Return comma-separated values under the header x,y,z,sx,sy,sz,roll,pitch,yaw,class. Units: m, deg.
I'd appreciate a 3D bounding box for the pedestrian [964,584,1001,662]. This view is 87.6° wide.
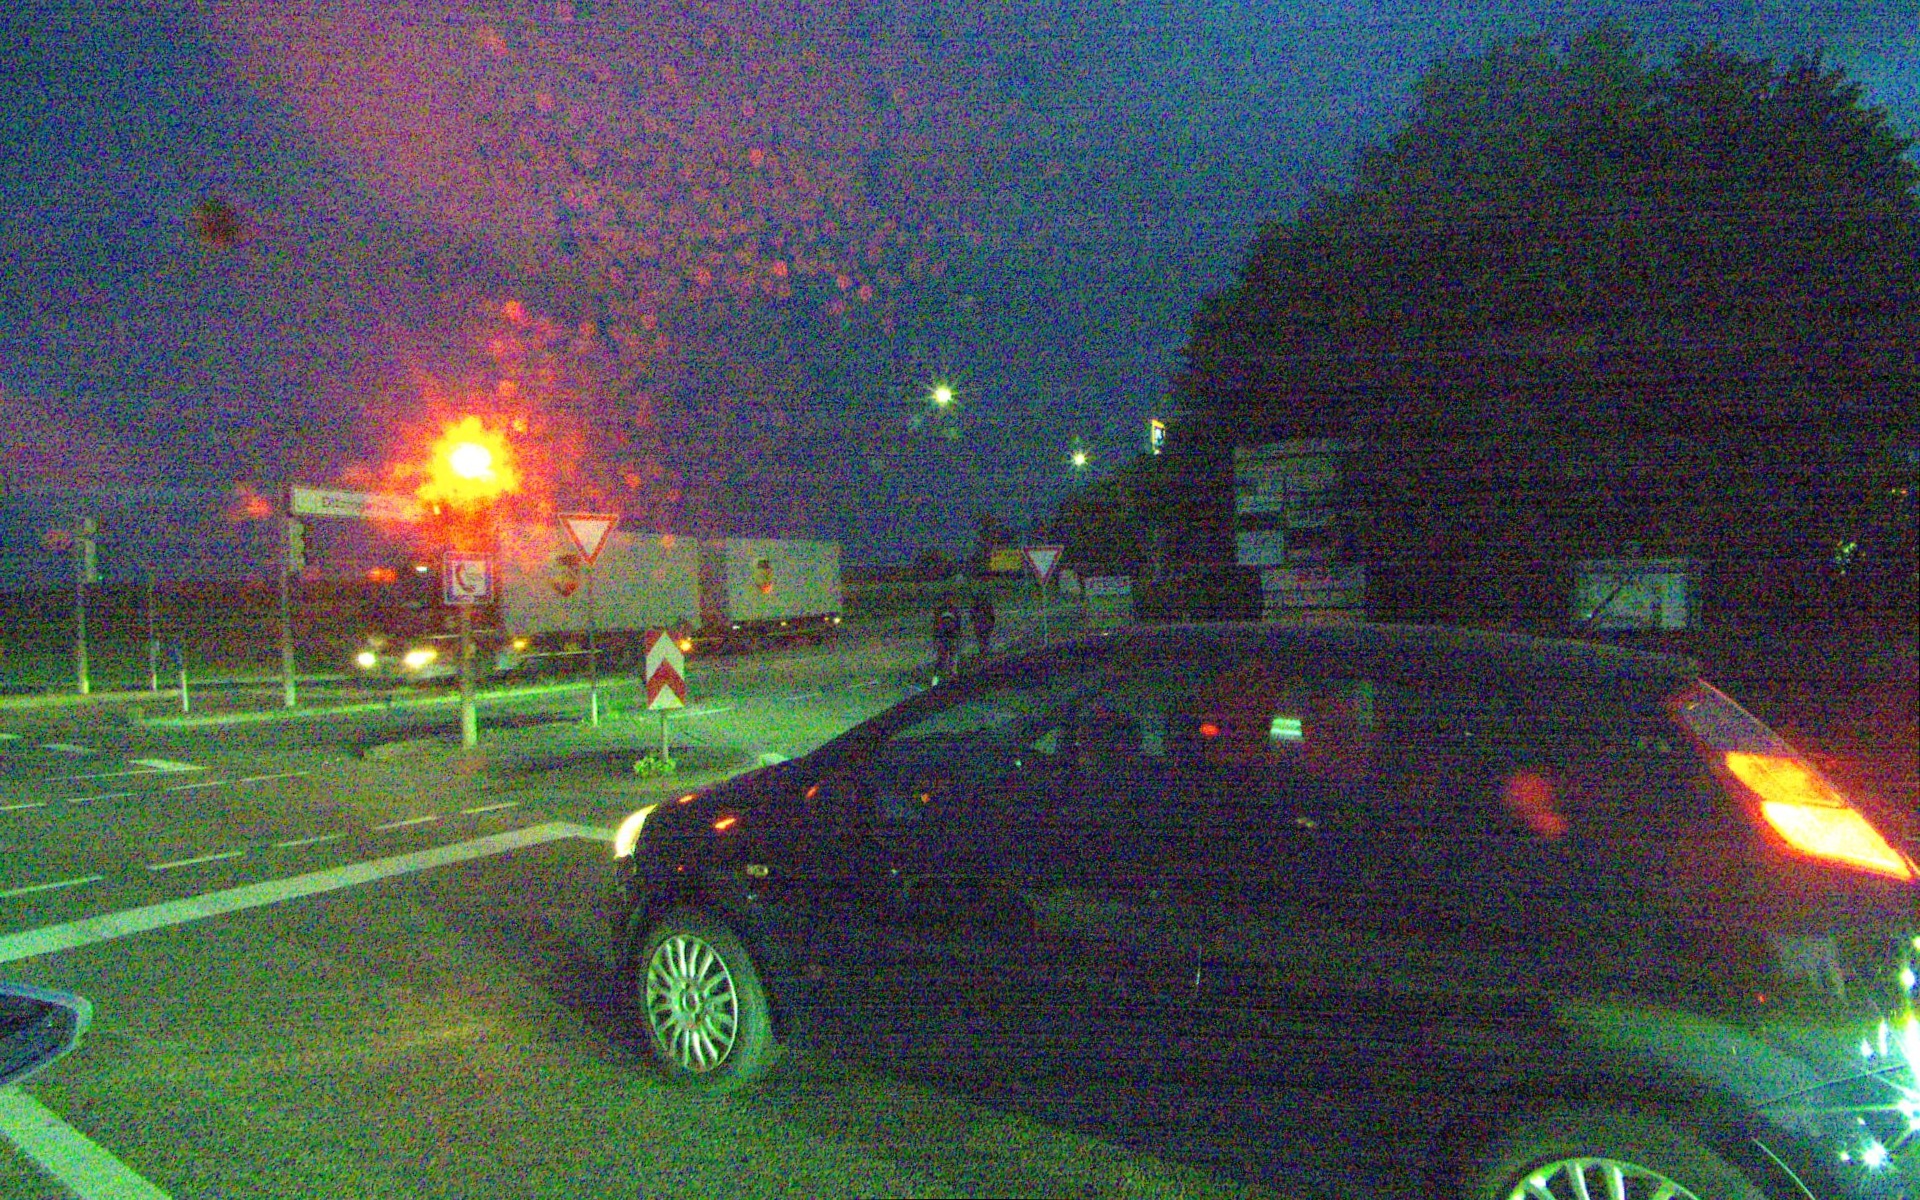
x,y,z,sx,sy,sz,roll,pitch,yaw,class
0.588,0.579,25.421,0.860,1.925,0.660,-1,1,6,pedestrian

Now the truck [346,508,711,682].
x,y,z,sx,sy,sz,roll,pitch,yaw,class
-11.518,-0.104,28.372,2.878,4.032,10.036,0,0,26,truck

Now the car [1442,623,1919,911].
x,y,z,sx,sy,sz,roll,pitch,yaw,class
5.553,0.874,5.788,4.654,1.450,1.907,-1,-1,44,car

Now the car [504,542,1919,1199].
x,y,z,sx,sy,sz,roll,pitch,yaw,class
0.462,0.721,3.235,4.049,1.540,1.666,-1,-1,34,car

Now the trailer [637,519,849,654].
x,y,z,sx,sy,sz,roll,pitch,yaw,class
-7.647,-0.412,36.999,2.876,4.359,9.046,0,0,23,trailer

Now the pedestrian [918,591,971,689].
x,y,z,sx,sy,sz,roll,pitch,yaw,class
-0.294,0.776,19.806,0.861,1.859,0.731,-3,1,6,pedestrian
